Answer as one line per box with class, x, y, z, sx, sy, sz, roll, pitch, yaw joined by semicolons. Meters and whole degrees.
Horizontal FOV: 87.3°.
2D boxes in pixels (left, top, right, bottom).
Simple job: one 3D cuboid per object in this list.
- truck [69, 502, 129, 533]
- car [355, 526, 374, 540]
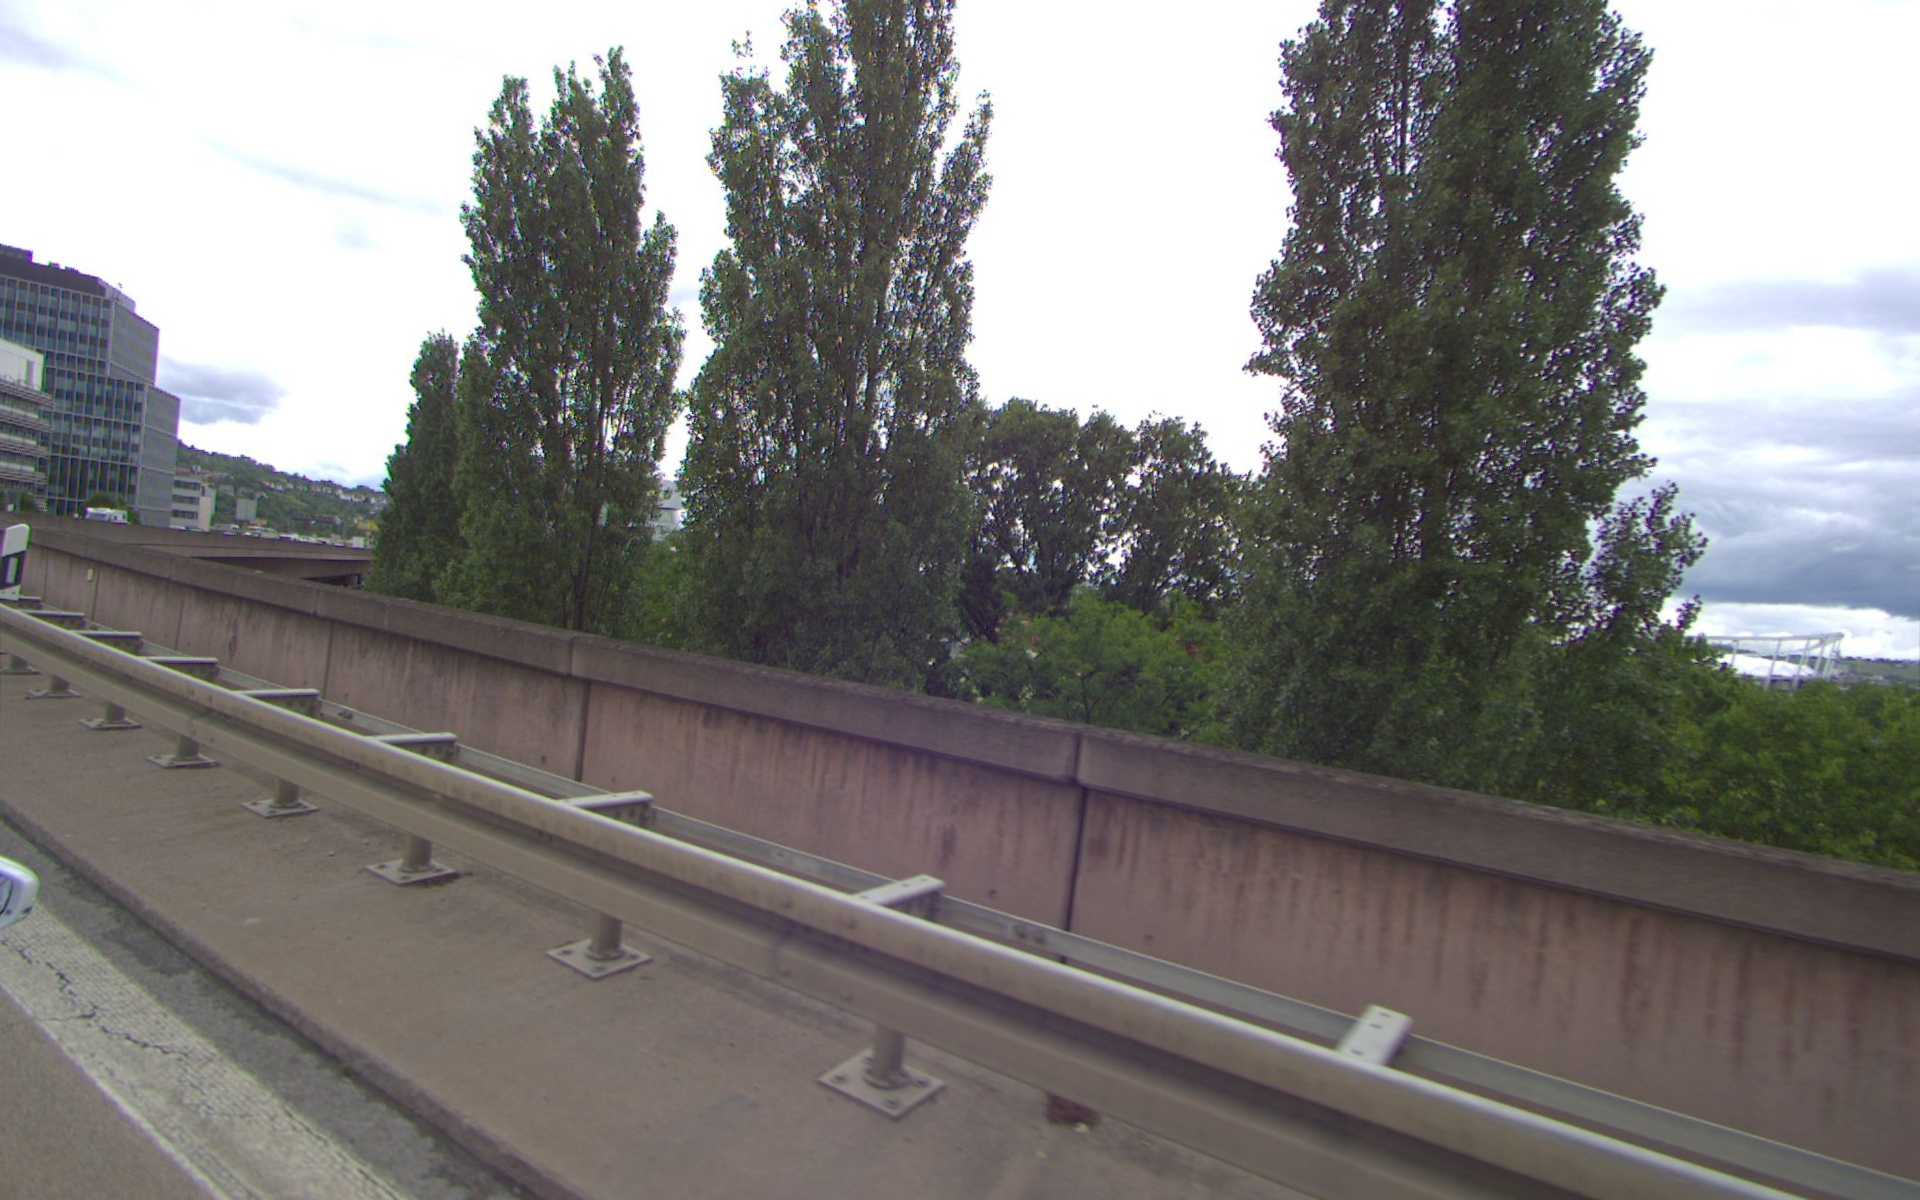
truck;-91.306;-8.665;106.855;2.465;2.659;7.310;6;0;-22
car;-84.369;-9.479;142.600;1.677;1.570;3.625;6;-1;-22
